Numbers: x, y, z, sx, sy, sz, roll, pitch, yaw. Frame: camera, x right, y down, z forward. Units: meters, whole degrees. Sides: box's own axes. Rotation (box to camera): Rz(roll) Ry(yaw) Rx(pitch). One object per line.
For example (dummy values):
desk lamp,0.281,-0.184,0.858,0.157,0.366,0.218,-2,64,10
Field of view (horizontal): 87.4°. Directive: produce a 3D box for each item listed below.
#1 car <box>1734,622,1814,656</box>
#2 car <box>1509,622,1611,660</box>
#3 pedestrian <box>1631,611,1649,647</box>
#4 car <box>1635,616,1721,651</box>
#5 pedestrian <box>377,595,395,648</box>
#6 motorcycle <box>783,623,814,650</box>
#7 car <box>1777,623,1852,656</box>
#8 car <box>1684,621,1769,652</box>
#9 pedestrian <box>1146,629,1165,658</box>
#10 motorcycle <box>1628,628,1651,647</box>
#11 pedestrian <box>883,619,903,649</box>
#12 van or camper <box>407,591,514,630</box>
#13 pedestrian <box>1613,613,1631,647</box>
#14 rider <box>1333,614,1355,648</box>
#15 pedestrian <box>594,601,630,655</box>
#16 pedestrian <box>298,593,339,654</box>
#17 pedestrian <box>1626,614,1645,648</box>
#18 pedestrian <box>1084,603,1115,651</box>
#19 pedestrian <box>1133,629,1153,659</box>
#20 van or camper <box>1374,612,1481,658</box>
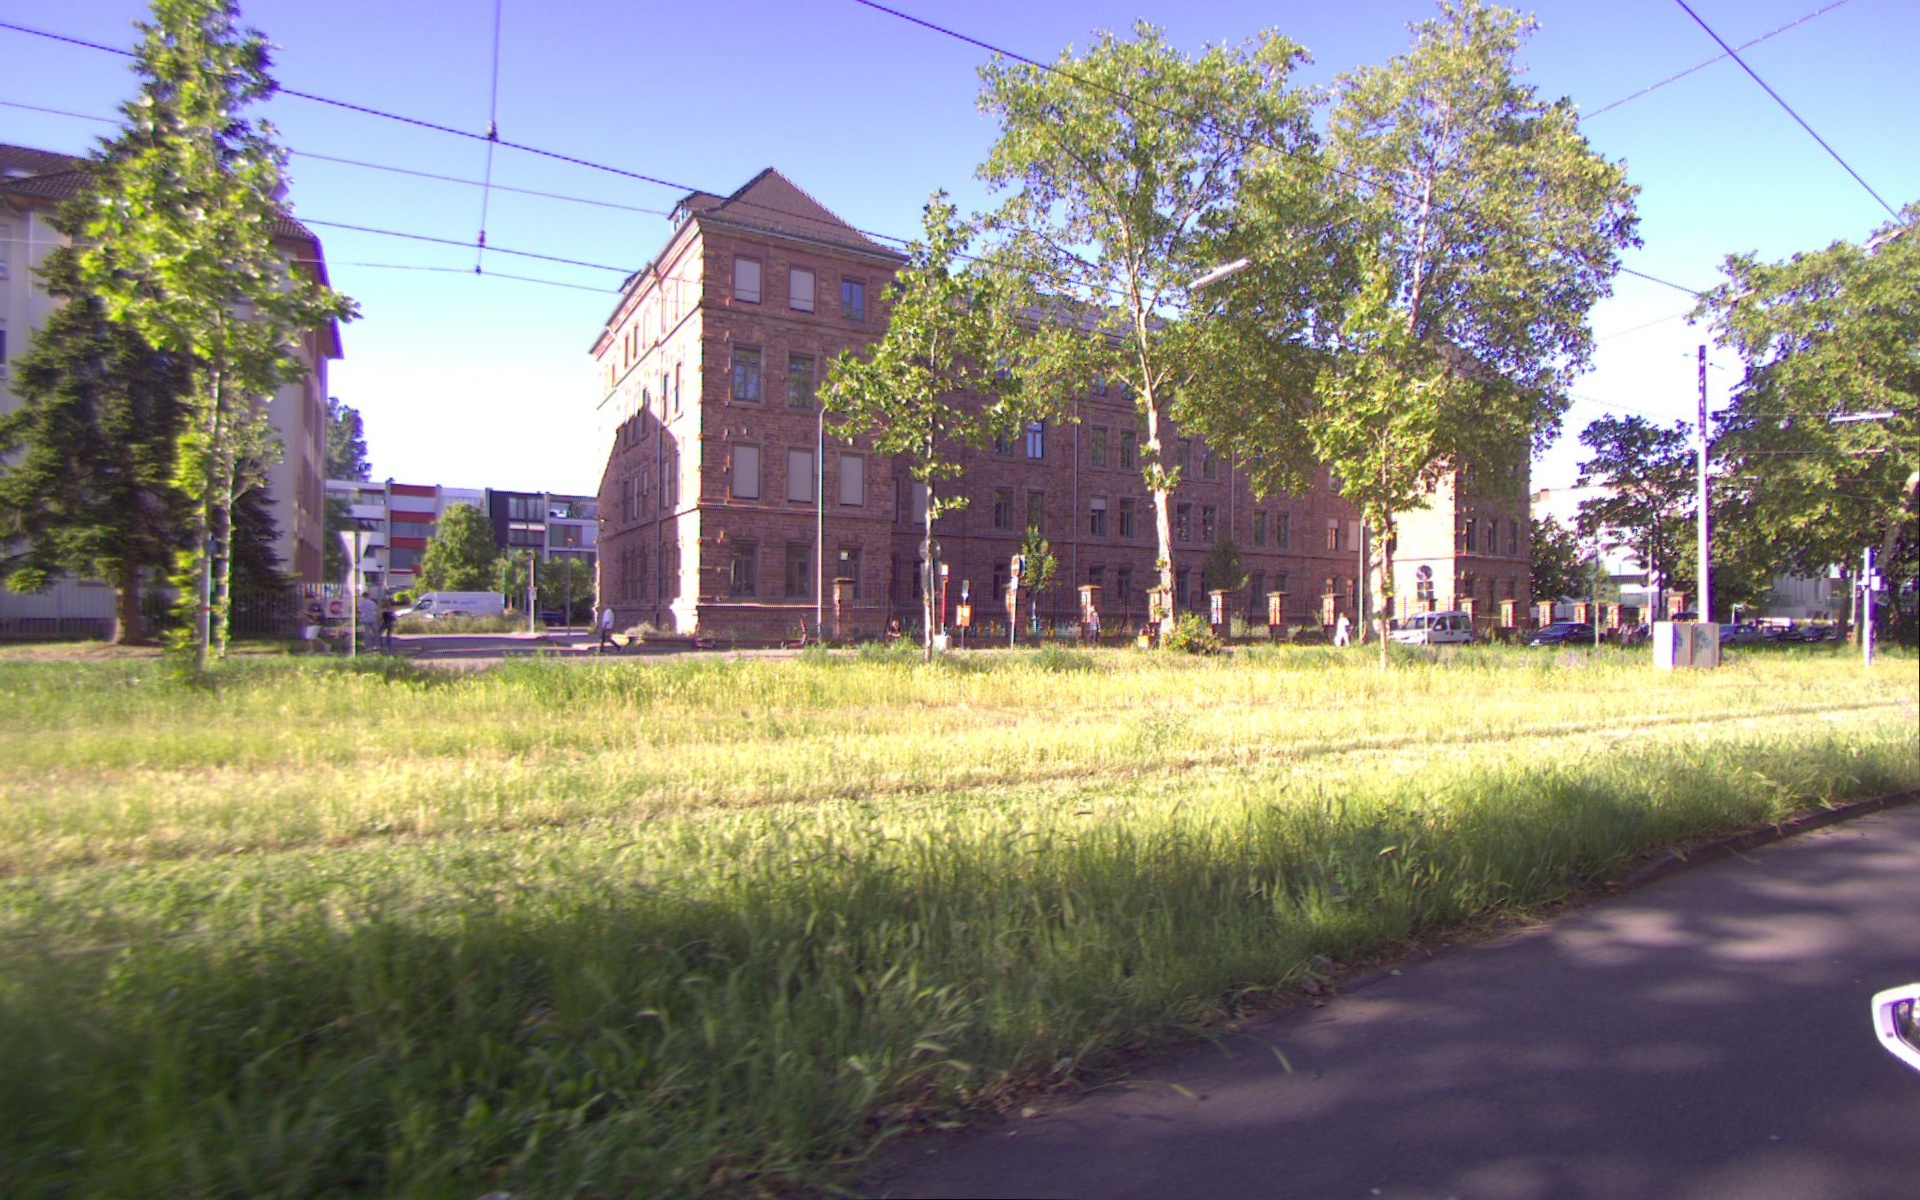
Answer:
car,46.439,2.182,57.289,4.684,1.833,2.098,1,-1,-31
car,27.845,1.859,46.568,4.769,1.671,1.984,1,-1,-30
pedestrian,38.550,1.643,56.922,0.702,2.040,0.582,1,-1,-30
car,37.004,1.706,51.765,4.361,1.742,1.762,1,-1,-26
pedestrian,-18.745,0.691,32.797,0.443,1.718,0.374,1,0,-23
motorcycle,-5.693,1.286,35.390,1.034,0.959,0.332,1,-1,-34
car,51.054,2.330,60.000,4.685,1.833,2.097,1,-1,-32
car,41.645,1.972,54.579,4.361,1.637,1.987,1,-1,-26
pedestrian,7.610,1.683,39.053,0.582,1.114,0.441,1,-1,-35
motorcycle,38.513,2.110,56.917,1.278,1.066,0.581,2,-1,-30
pedestrian,-2.495,1.255,37.419,0.581,1.114,0.441,1,-1,-34
van or camper,-35.137,0.785,70.747,6.591,2.678,1.983,1,0,-31
pedestrian,40.264,1.837,61.112,0.618,2.040,0.711,1,-1,-29
rider,18.785,1.509,49.155,0.678,1.666,0.725,1,-1,-29
pedestrian,-11.371,0.911,32.823,0.670,1.718,0.882,0,0,32
pedestrian,-18.346,0.661,28.732,0.672,1.718,0.820,0,0,41
pedestrian,40.623,1.873,60.412,0.618,2.040,0.711,1,-1,-29
pedestrian,5.738,1.094,41.280,0.930,1.925,0.897,1,-1,-29
pedestrian,7.072,1.697,38.798,0.473,1.114,0.583,1,-1,-31
van or camper,19.225,1.441,41.266,4.383,1.811,1.983,1,-2,-32
